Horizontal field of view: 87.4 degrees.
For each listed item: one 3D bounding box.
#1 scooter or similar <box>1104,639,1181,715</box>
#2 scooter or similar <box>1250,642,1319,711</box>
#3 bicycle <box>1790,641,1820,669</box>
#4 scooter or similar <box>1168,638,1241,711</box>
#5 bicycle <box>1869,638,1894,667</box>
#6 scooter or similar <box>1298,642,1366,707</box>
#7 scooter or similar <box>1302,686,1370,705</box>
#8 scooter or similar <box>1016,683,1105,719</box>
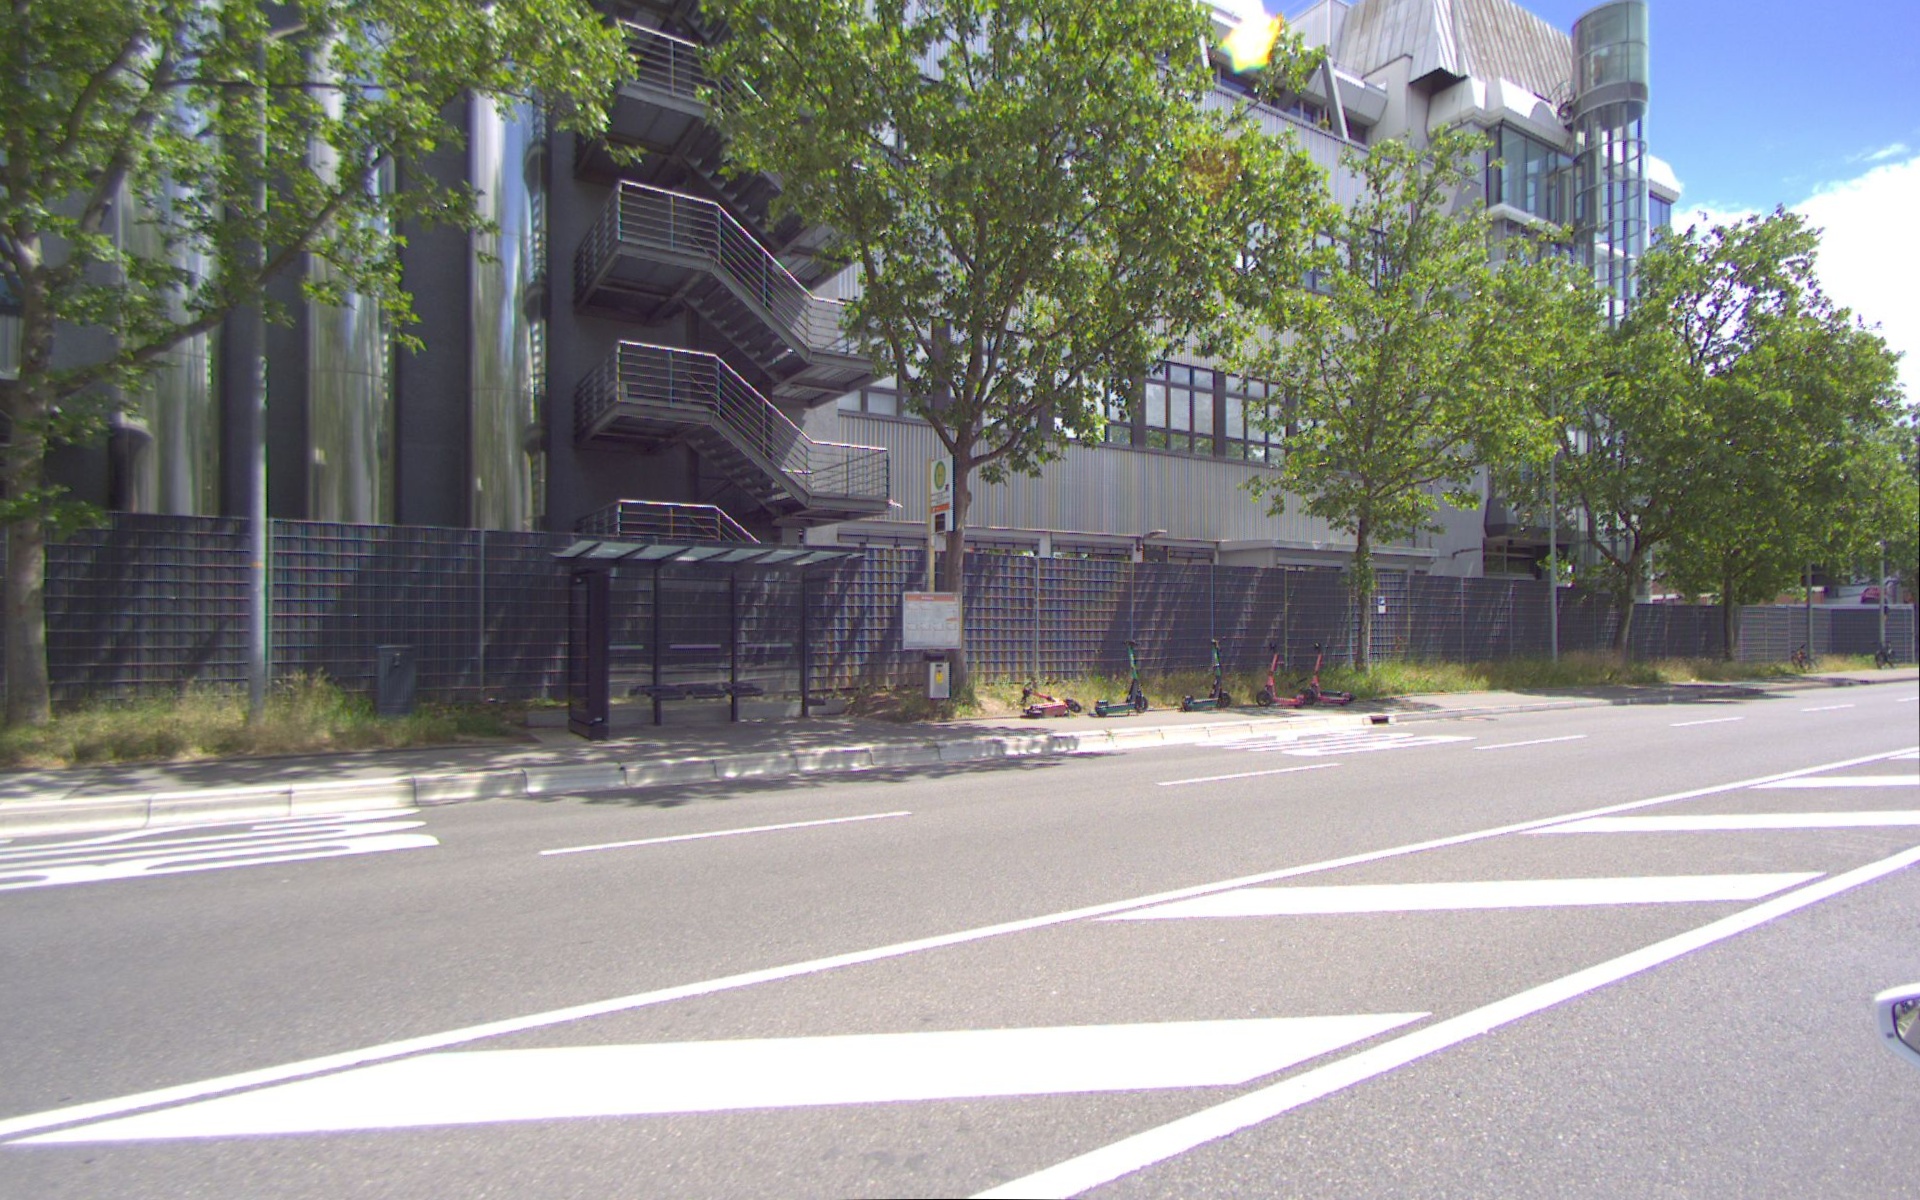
[{"bbox_3d":[3.225,1.332,17.686,1.303,1.251,0.520,0,2,-33],"label":"scooter or similar"},{"bbox_3d":[6.353,1.481,19.648,1.302,1.251,0.520,0,2,-31],"label":"scooter or similar"},{"bbox_3d":[31.898,2.068,37.912,1.234,1.019,0.296,2,0,-23],"label":"bicycle"},{"bbox_3d":[4.508,1.349,18.483,1.303,1.251,0.520,0,2,-33],"label":"scooter or similar"},{"bbox_3d":[37.524,2.146,40.903,1.467,1.146,0.295,2,0,-30],"label":"bicycle"},{"bbox_3d":[7.533,1.493,20.336,1.300,1.251,0.521,1,2,-26],"label":"scooter or similar"},{"bbox_3d":[7.927,2.013,21.198,1.249,0.327,0.538,0,0,-8],"label":"scooter or similar"},{"bbox_3d":[1.702,1.732,17.344,1.460,0.385,1.364,2,2,3],"label":"scooter or similar"}]
